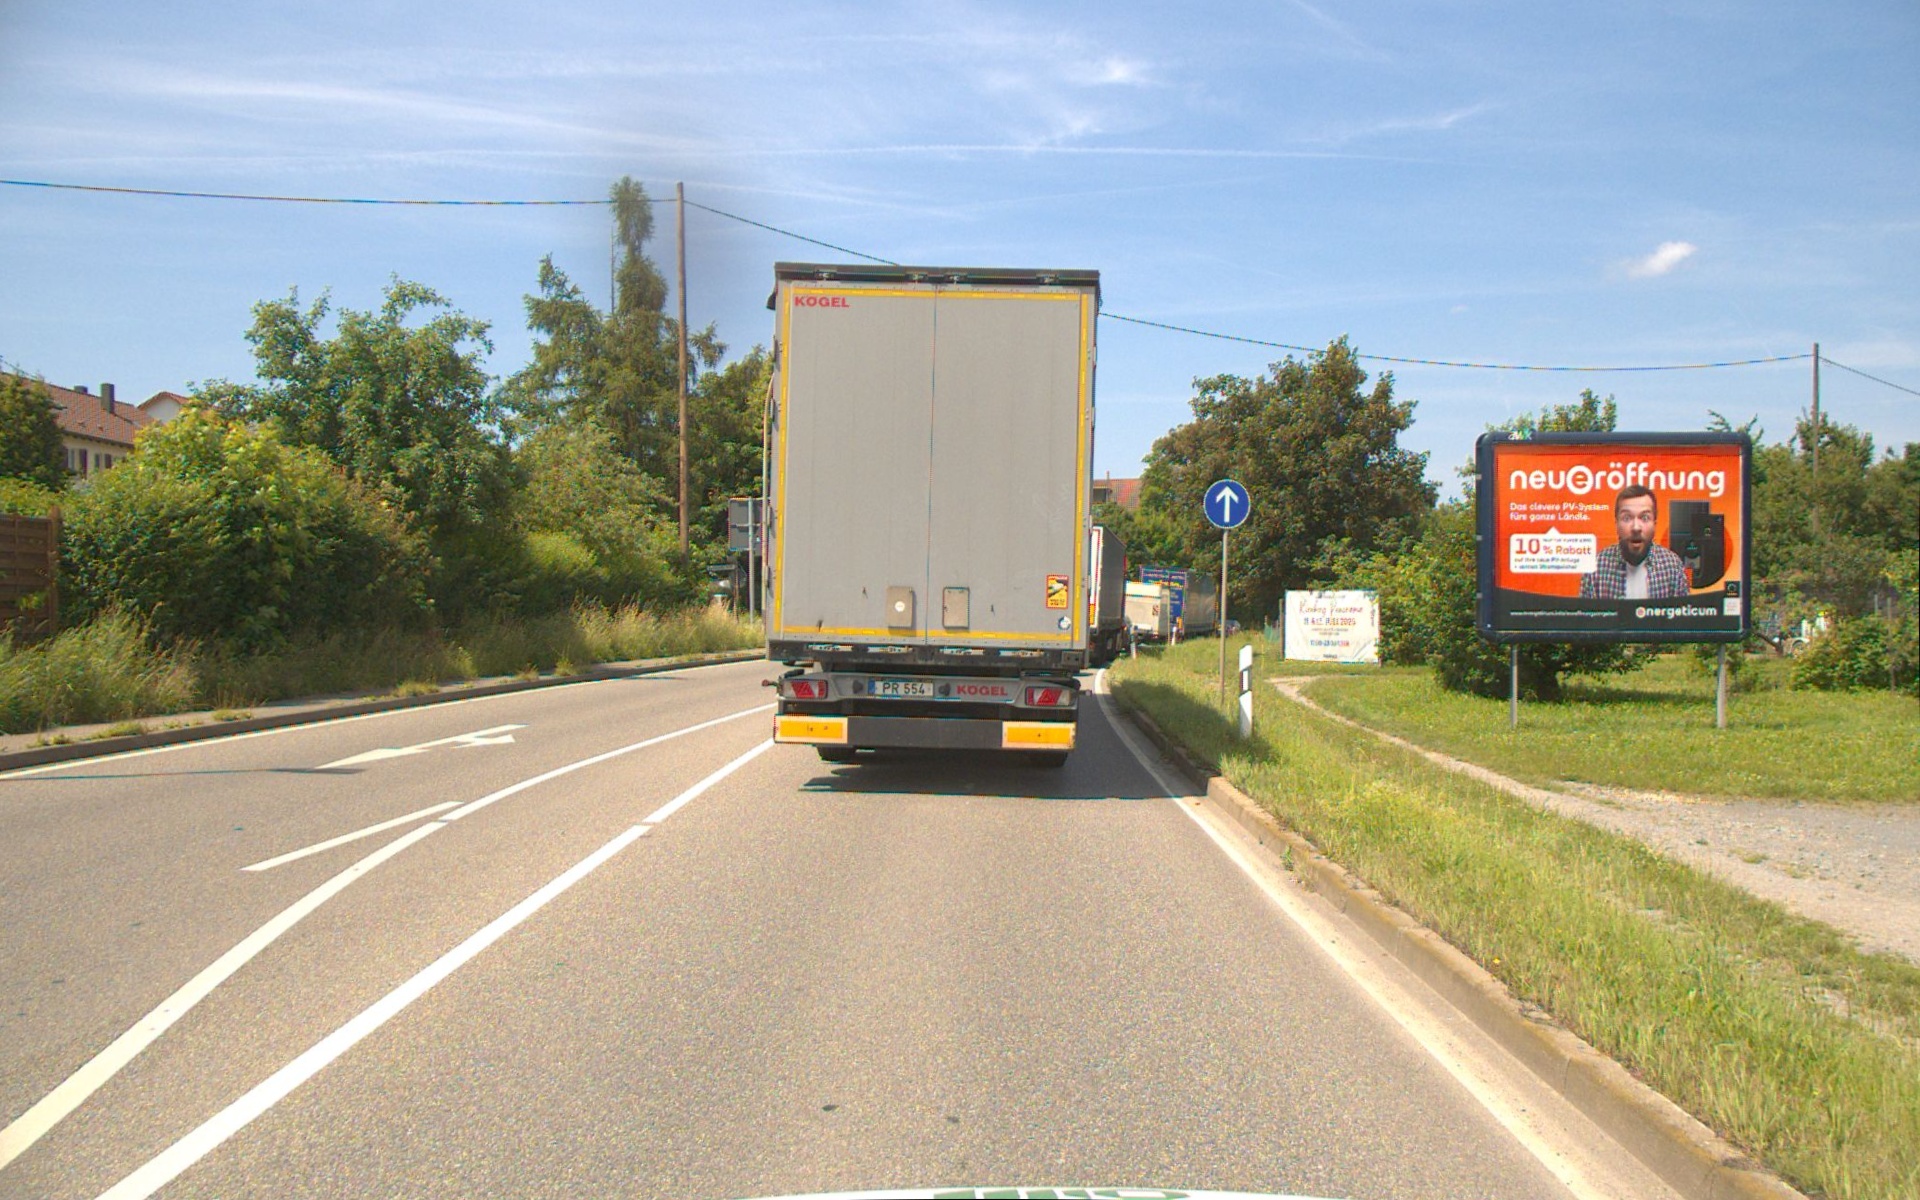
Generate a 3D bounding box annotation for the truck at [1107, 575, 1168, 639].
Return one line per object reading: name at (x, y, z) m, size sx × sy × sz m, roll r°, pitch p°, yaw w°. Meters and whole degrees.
truck at (8.435, 0.312, 78.118) m, size 2.369 × 2.888 × 5.417 m, roll 1°, pitch 0°, yaw 11°

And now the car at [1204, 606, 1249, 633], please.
car at (17.434, 1.240, 107.924) m, size 1.953 × 1.713 × 3.998 m, roll 1°, pitch 0°, yaw 24°

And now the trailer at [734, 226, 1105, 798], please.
trailer at (0.064, -0.713, 18.571) m, size 2.728 × 4.279 × 12.116 m, roll 1°, pitch 0°, yaw 4°

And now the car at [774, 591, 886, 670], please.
car at (-2.929, 0.646, 38.213) m, size 1.807 × 1.684 × 4.406 m, roll 1°, pitch 0°, yaw 6°

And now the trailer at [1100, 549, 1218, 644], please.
trailer at (11.294, -0.186, 91.705) m, size 5.069 × 4.709 × 15.909 m, roll 1°, pitch 0°, yaw 12°

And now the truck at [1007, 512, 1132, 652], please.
truck at (4.039, -0.606, 59.296) m, size 3.853 × 4.655 × 7.157 m, roll 1°, pitch 0°, yaw 8°

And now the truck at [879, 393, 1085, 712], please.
truck at (0.497, -0.665, 25.363) m, size 2.688 × 4.238 × 6.146 m, roll 1°, pitch 0°, yaw 4°

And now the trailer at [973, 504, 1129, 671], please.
trailer at (3.170, -0.327, 52.484) m, size 3.808 × 4.600 × 12.723 m, roll 1°, pitch 0°, yaw 8°

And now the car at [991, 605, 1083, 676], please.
car at (1.945, 0.945, 40.543) m, size 1.951 × 1.556 × 4.003 m, roll 1°, pitch 0°, yaw 6°

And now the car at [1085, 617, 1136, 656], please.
car at (6.377, 1.513, 69.677) m, size 1.802 × 1.512 × 4.003 m, roll 1°, pitch 0°, yaw 9°
